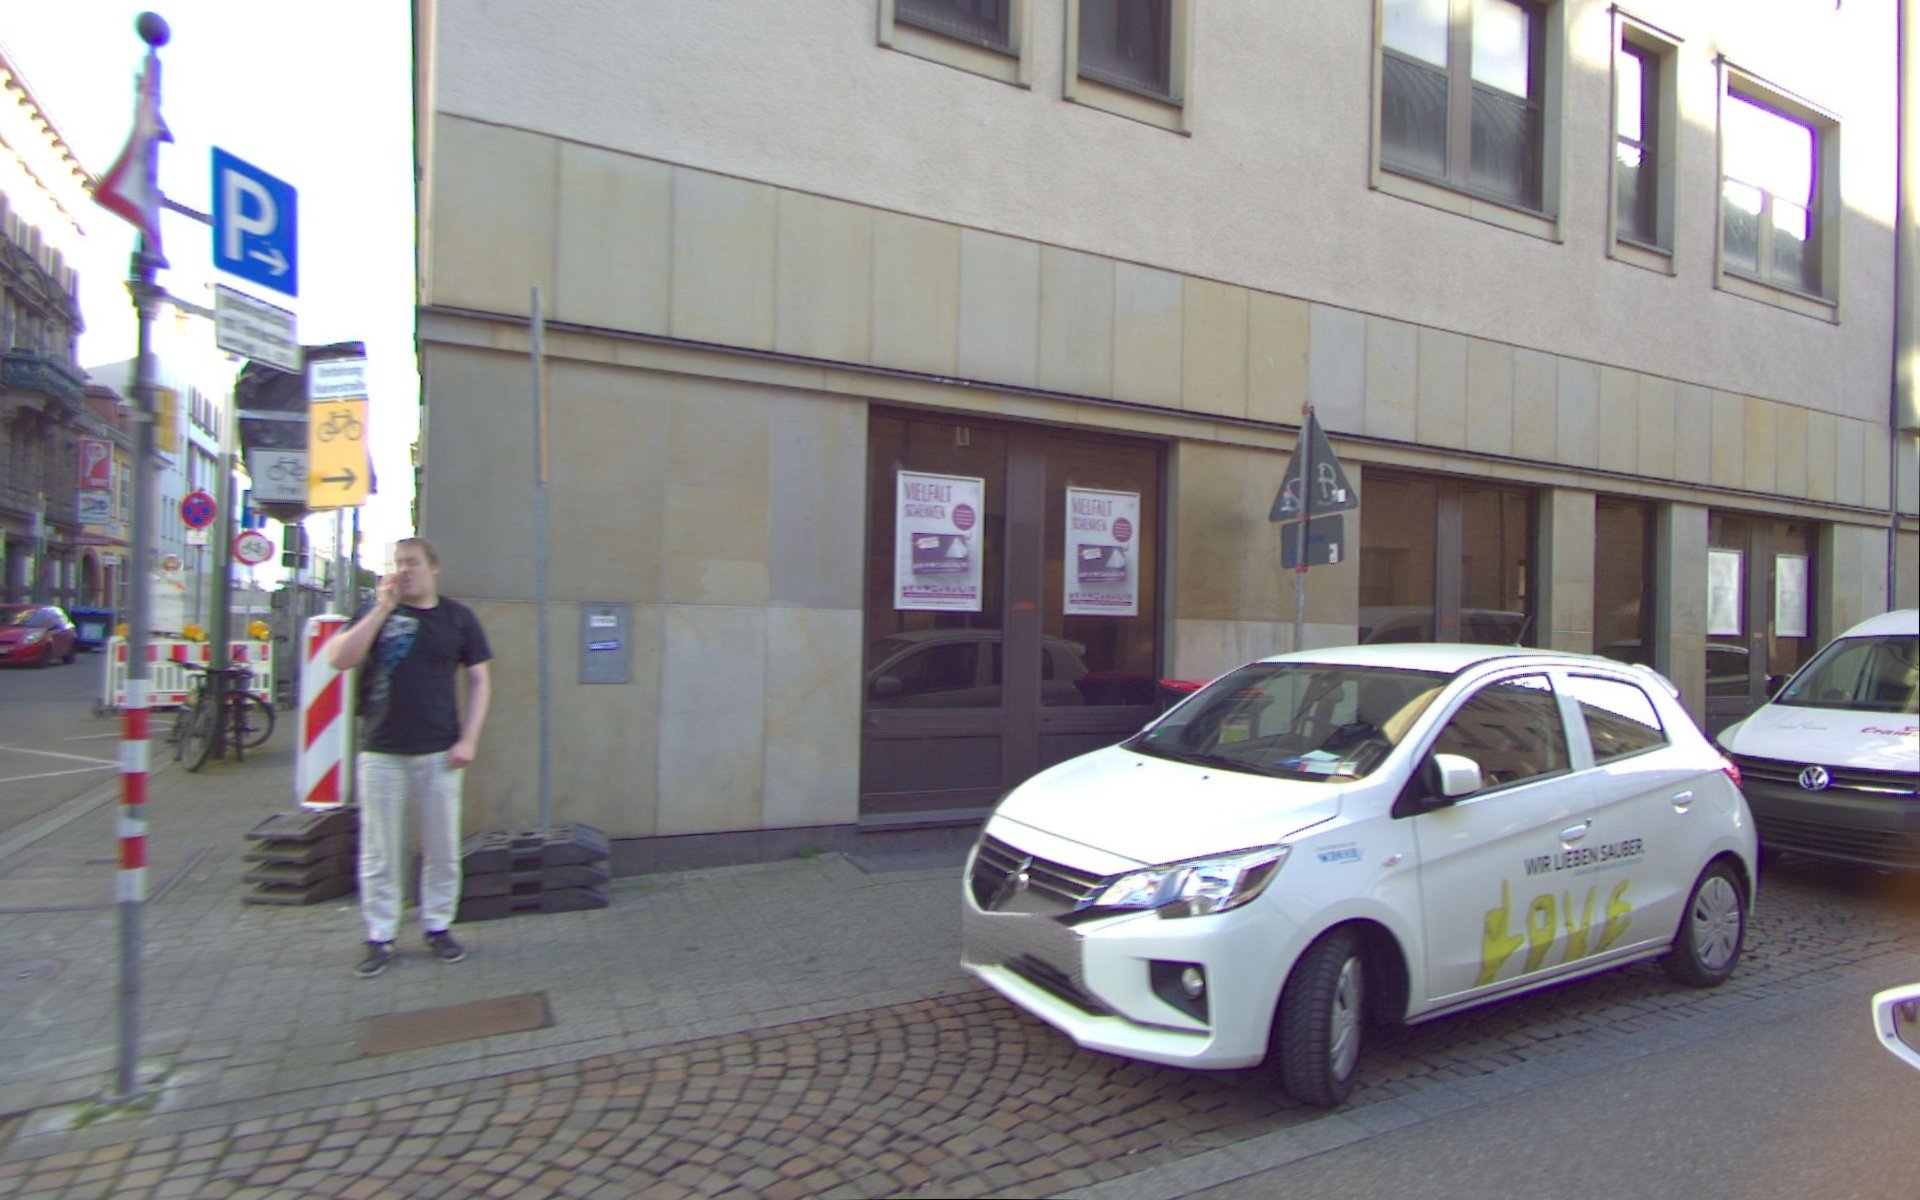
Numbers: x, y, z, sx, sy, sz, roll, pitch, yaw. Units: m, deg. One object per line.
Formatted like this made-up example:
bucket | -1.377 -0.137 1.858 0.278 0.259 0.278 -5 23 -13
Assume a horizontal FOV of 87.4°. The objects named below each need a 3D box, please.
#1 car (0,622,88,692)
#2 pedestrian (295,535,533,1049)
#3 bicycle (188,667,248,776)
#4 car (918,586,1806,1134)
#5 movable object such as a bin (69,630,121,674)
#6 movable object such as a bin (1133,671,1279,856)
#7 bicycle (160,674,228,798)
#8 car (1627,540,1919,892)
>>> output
car | -23.287 1.374 24.920 1.774 1.545 3.966 4 -3 -31
pedestrian | -2.257 0.732 4.246 0.707 1.878 0.856 3 -4 -26
bicycle | -8.203 1.307 11.091 0.300 1.064 1.522 3 -2 -44
car | 1.874 0.827 4.494 3.755 1.511 1.729 3 -4 -30
movable object such as a bin | -27.968 1.679 32.502 1.072 1.366 0.900 4 -3 -32
movable object such as a bin | 1.665 1.077 6.845 0.583 1.115 0.734 3 0 -27
bicycle | -7.745 1.326 10.133 0.300 1.064 1.768 3 -2 -44
car | 7.029 0.726 6.890 4.668 1.882 1.895 2 -3 -24
